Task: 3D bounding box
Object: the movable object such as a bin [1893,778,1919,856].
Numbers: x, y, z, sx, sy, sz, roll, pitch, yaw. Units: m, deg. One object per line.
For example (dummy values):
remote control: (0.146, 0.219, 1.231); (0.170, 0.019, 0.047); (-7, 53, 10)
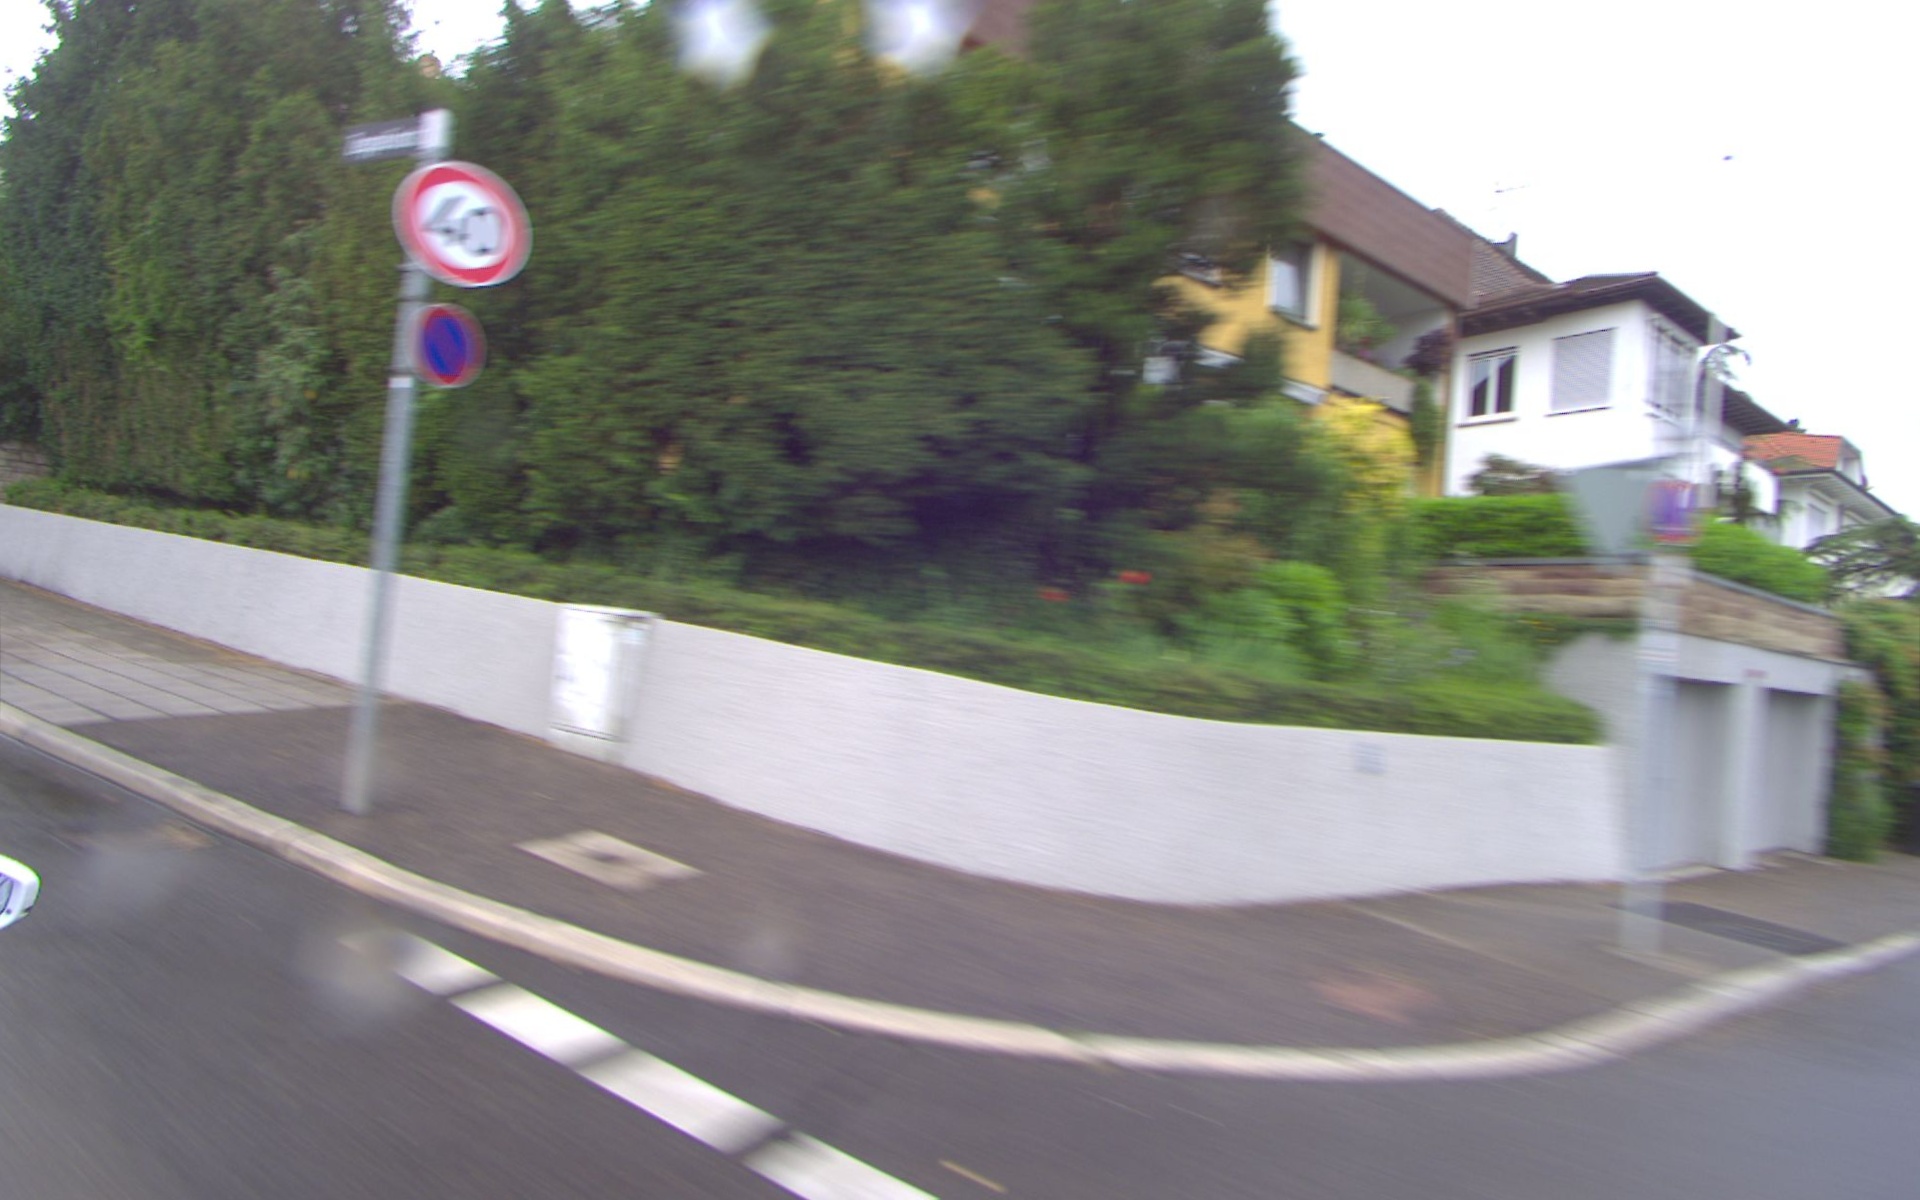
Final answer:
movable object such as a bin: (13.733, 3.105, 14.161); (0.674, 1.031, 0.529); (7, 0, 32)
